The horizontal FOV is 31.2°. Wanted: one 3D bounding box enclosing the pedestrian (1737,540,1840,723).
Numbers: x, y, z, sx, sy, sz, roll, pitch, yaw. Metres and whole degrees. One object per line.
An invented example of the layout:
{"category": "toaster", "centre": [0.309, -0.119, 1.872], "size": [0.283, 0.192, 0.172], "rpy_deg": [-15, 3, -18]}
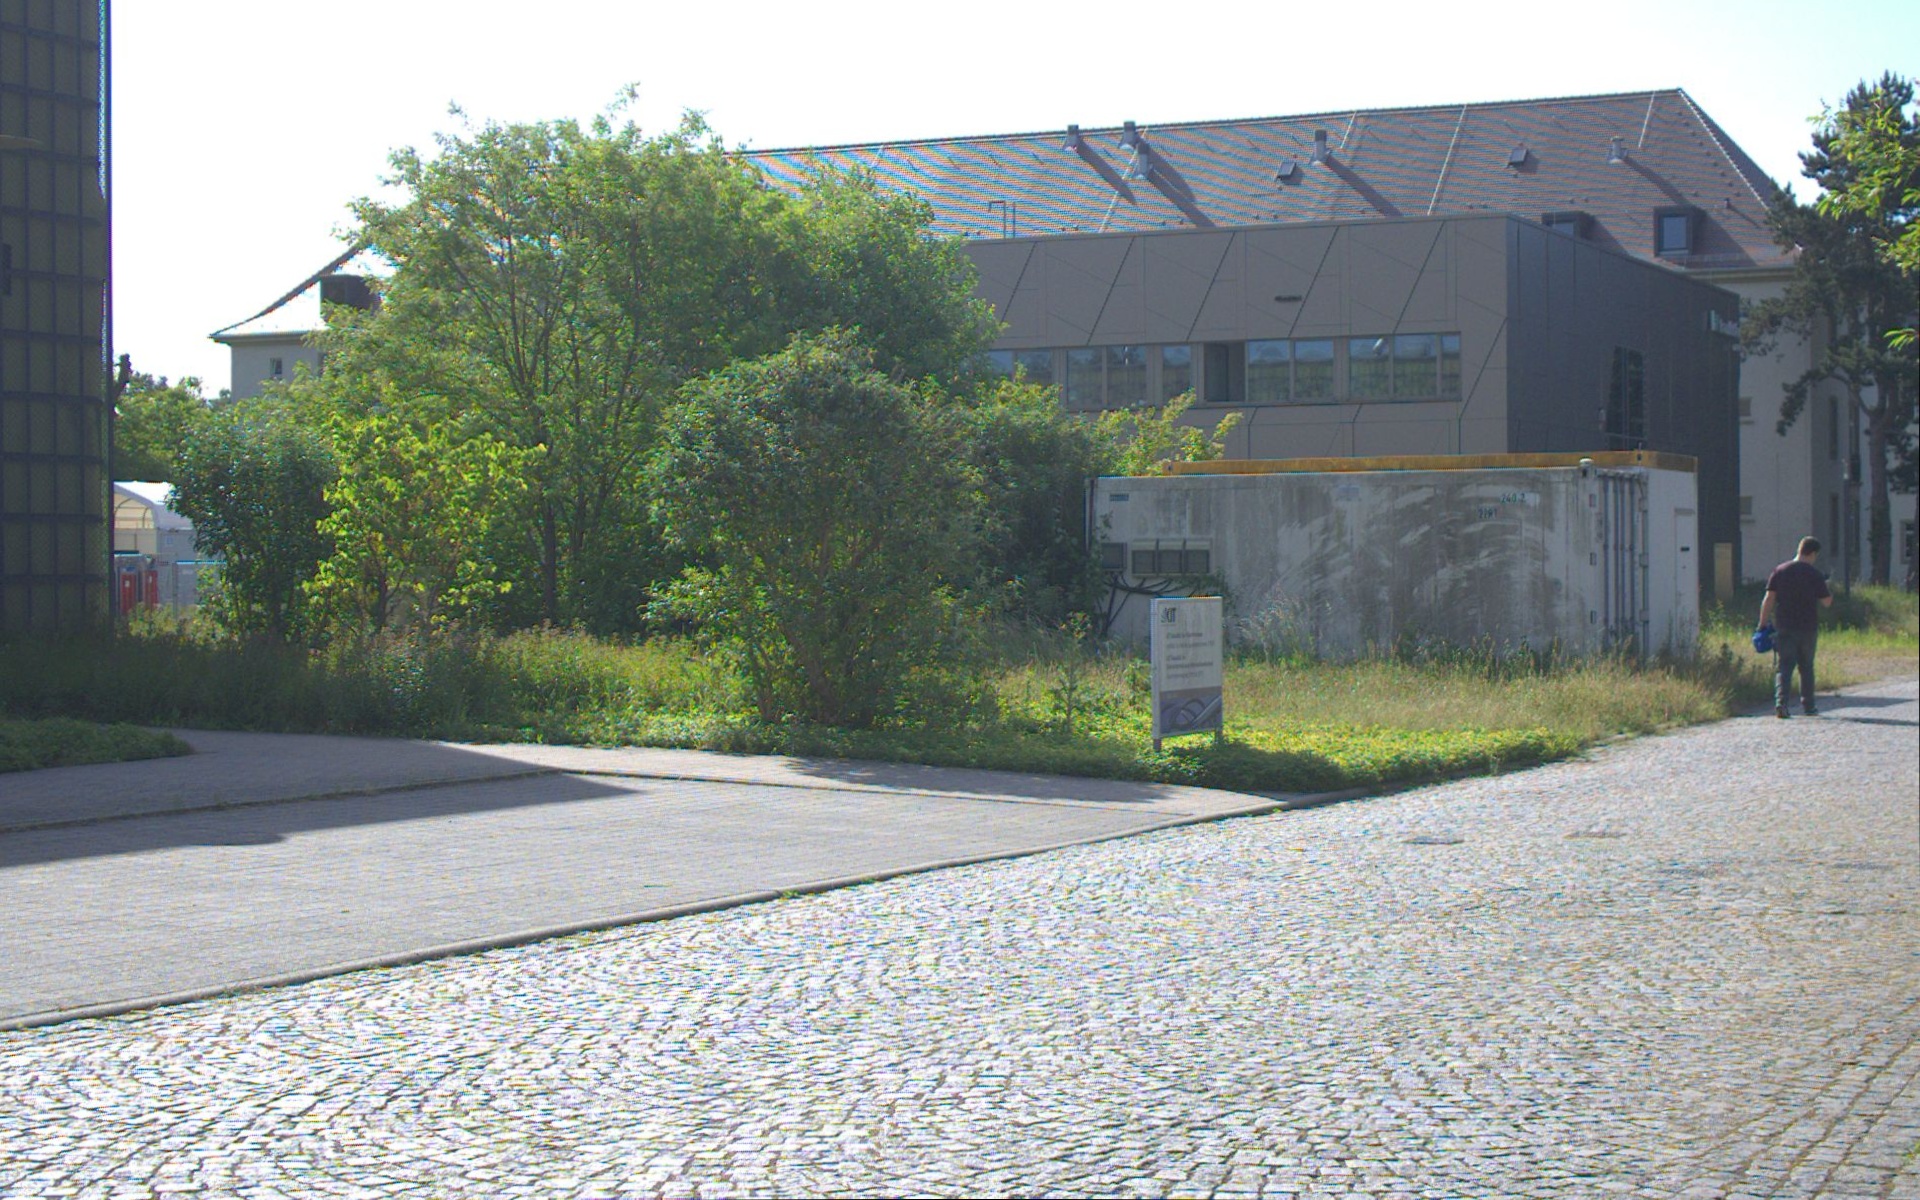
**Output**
{"category": "pedestrian", "centre": [8.250, 0.300, 34.218], "size": [0.796, 1.774, 1.067], "rpy_deg": [1, 1, 23]}
